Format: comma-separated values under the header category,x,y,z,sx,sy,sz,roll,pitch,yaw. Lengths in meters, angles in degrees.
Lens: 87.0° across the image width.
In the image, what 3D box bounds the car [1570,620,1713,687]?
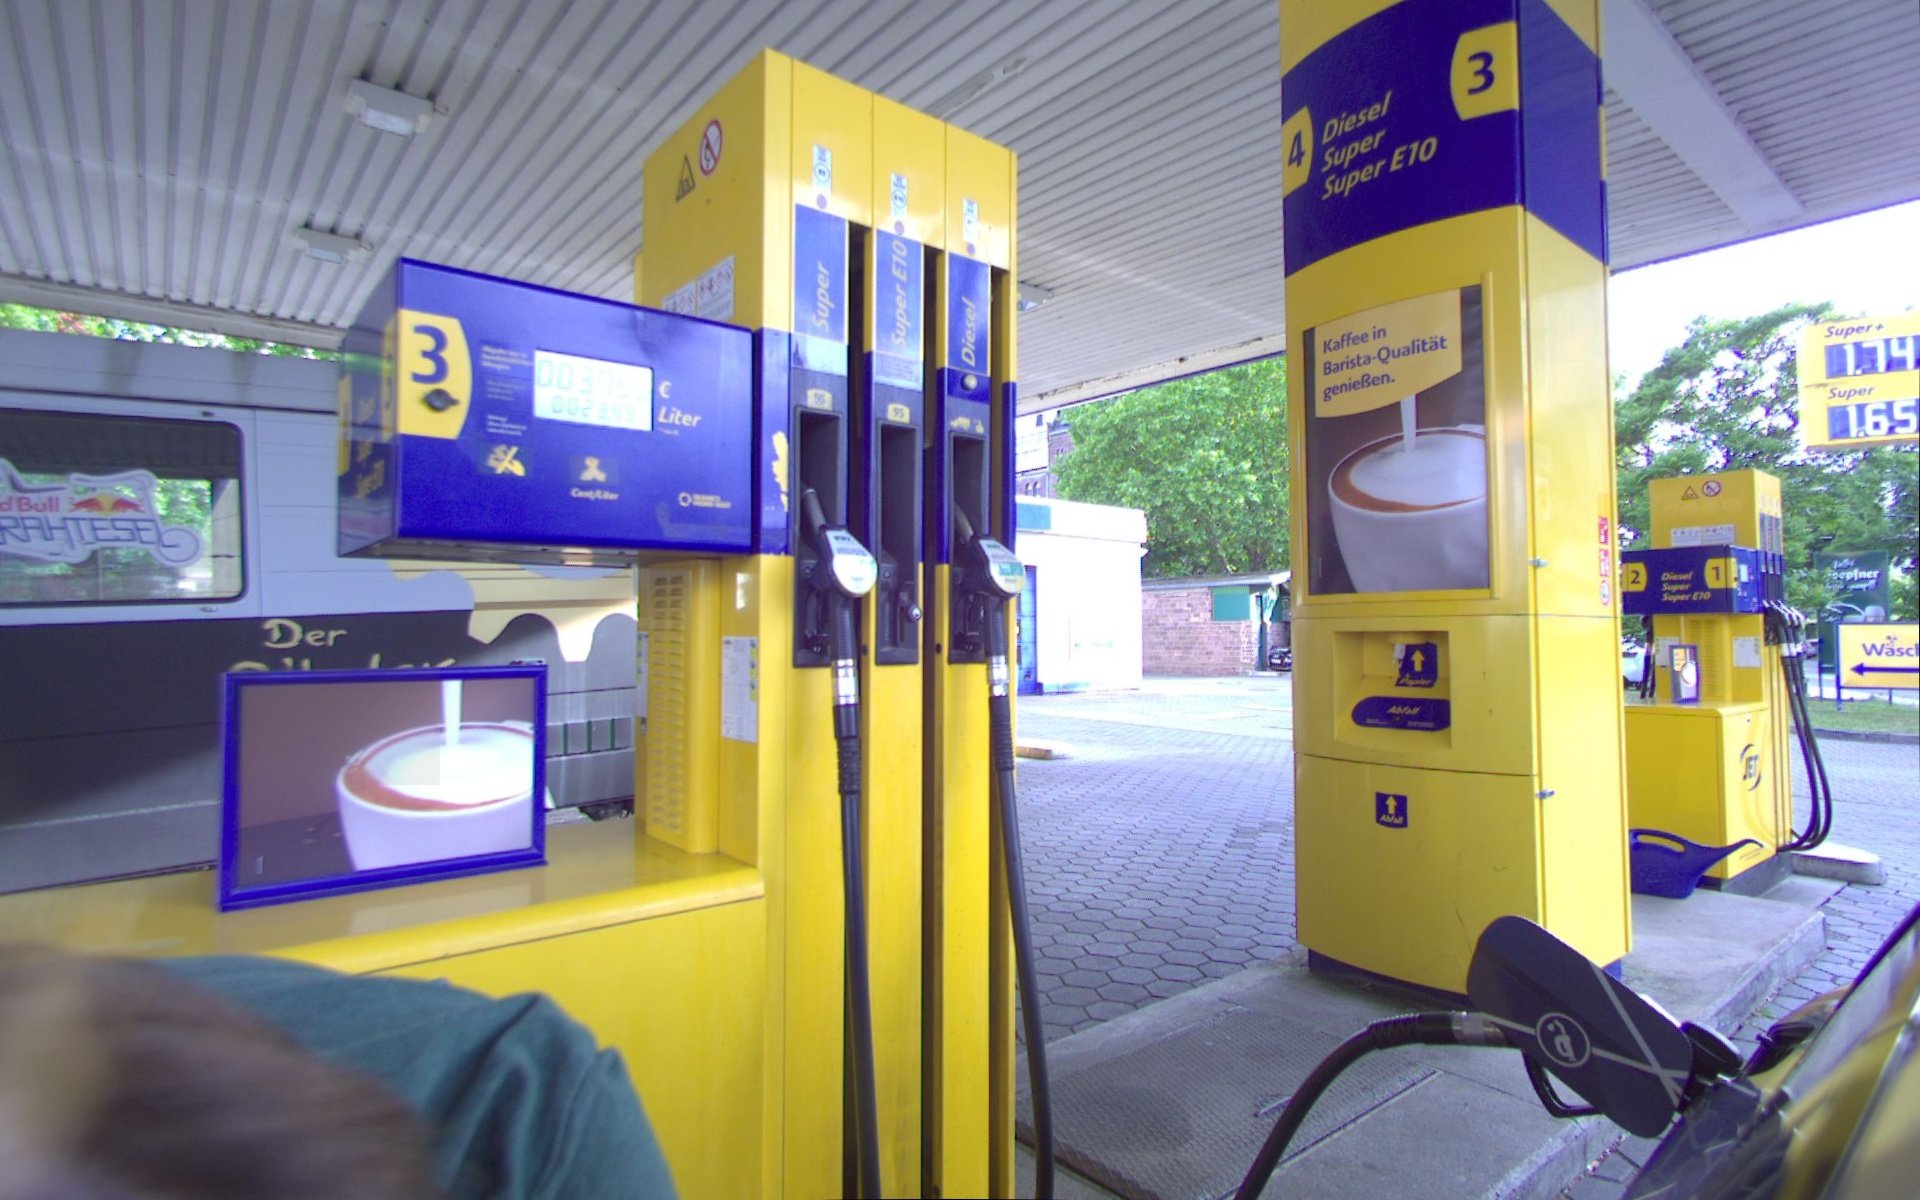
category,x,y,z,sx,sy,sz,roll,pitch,yaw
car,18.360,1.457,27.207,4.308,1.622,1.774,4,-4,-35

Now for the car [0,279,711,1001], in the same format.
category,x,y,z,sx,sy,sz,roll,pitch,yaw
car,-4.104,0.169,4.897,5.197,2.726,2.258,1,-2,-39

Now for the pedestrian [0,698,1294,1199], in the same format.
category,x,y,z,sx,sy,sz,roll,pitch,yaw
pedestrian,-0.329,0.756,0.550,0.662,1.298,0.751,0,0,-41

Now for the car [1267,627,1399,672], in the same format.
category,x,y,z,sx,sy,sz,roll,pitch,yaw
car,12.694,1.666,34.432,4.303,1.393,1.777,2,-1,-28

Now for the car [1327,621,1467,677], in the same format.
category,x,y,z,sx,sy,sz,roll,pitch,yaw
car,13.891,1.543,32.141,4.303,1.622,1.777,2,-1,-28

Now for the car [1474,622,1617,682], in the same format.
category,x,y,z,sx,sy,sz,roll,pitch,yaw
car,17.850,1.601,30.806,4.303,1.622,1.776,4,-4,-28
